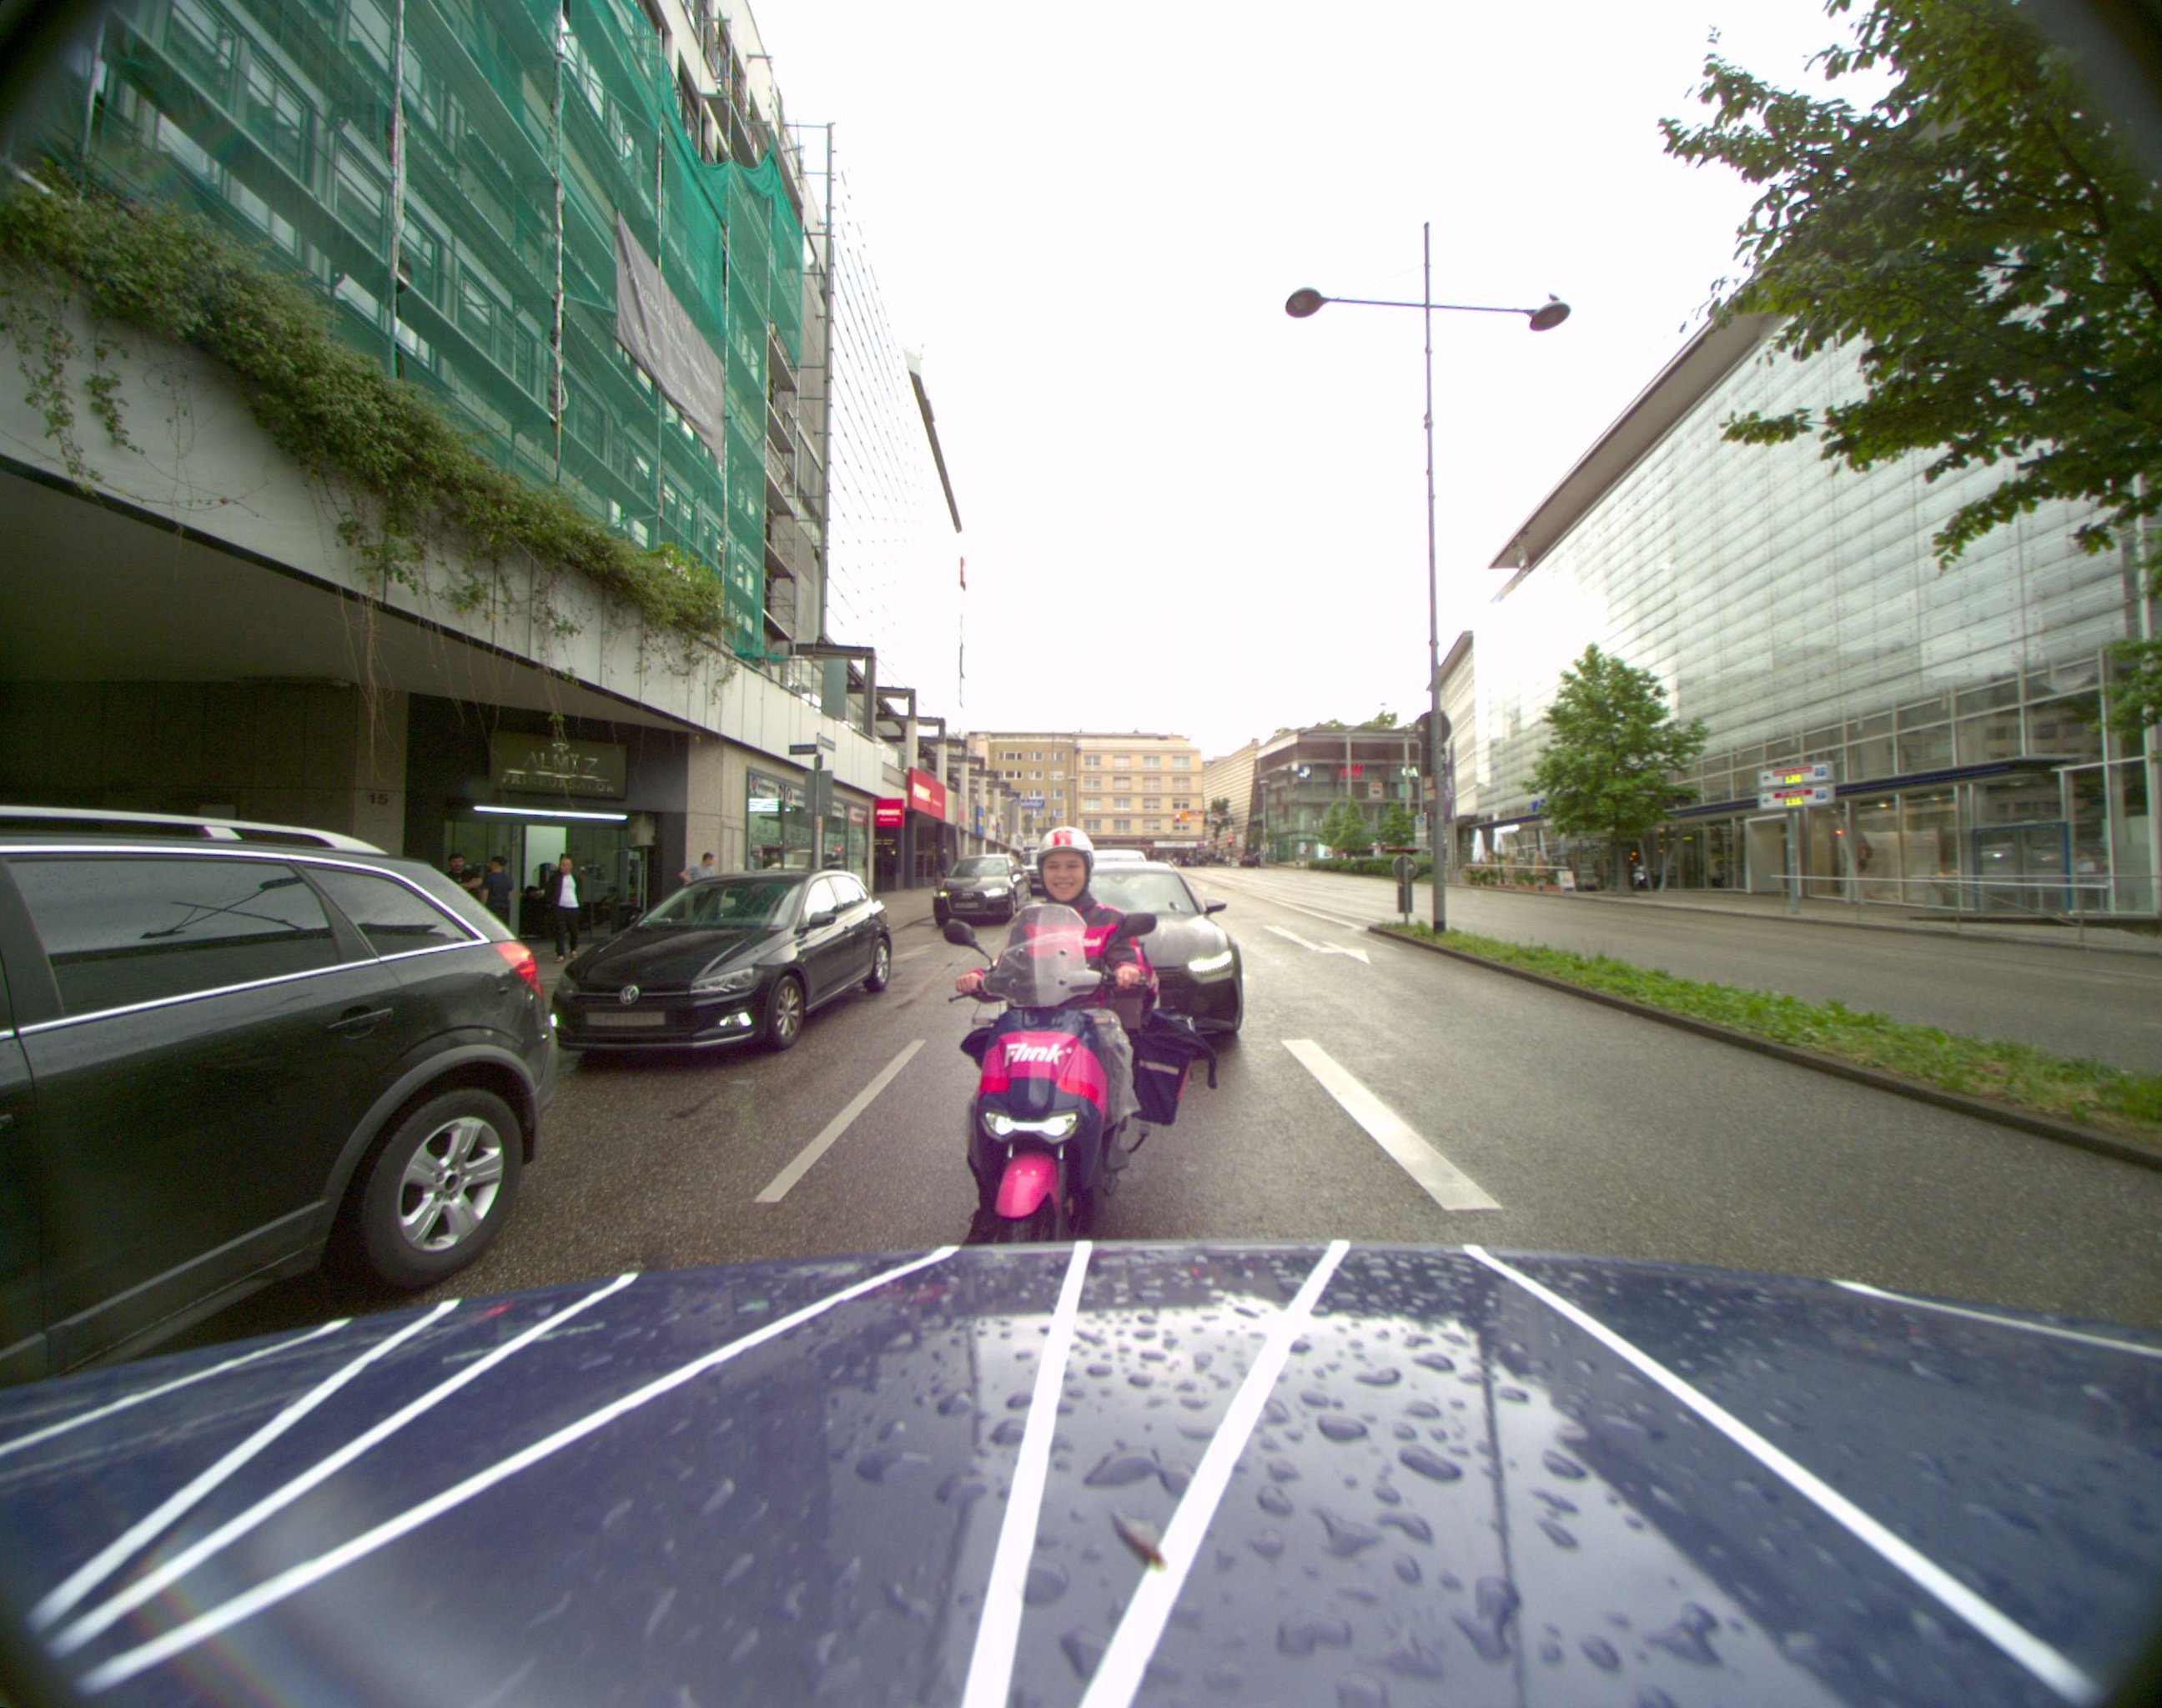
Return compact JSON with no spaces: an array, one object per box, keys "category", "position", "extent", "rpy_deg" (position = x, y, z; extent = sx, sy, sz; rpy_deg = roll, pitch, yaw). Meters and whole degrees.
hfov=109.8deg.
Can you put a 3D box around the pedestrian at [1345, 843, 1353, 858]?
[{"category":"pedestrian","position":[28.620,-0.362,81.076],"extent":[0.633,1.620,0.602],"rpy_deg":[0,1,2]}]

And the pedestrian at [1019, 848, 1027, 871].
[{"category":"pedestrian","position":[-3.845,0.353,50.437],"extent":[0.510,1.492,0.579],"rpy_deg":[0,2,0]}]

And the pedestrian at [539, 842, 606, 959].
[{"category":"pedestrian","position":[-8.191,0.716,12.250],"extent":[0.771,1.805,0.745],"rpy_deg":[2,2,44]}]

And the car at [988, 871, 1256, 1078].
[{"category":"car","position":[0.384,0.923,7.577],"extent":[1.890,1.391,4.165],"rpy_deg":[-2,-1,2]}]

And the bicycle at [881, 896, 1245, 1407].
[{"category":"bicycle","position":[-0.035,0.971,3.727],"extent":[1.034,1.279,2.948],"rpy_deg":[-2,1,1]}]

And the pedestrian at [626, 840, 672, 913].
[{"category":"pedestrian","position":[-9.779,0.506,17.211],"extent":[0.676,1.618,0.580],"rpy_deg":[0,2,7]}]

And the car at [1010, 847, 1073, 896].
[{"category":"car","position":[-1.441,0.651,29.339],"extent":[1.988,1.696,4.165],"rpy_deg":[-2,0,2]}]

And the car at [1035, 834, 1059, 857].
[{"category":"car","position":[-3.039,-0.760,69.174],"extent":[1.605,2.002,3.400],"rpy_deg":[-2,1,7]}]

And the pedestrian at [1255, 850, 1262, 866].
[{"category":"pedestrian","position":[20.040,0.484,85.823],"extent":[0.626,1.764,0.689],"rpy_deg":[-2,2,5]}]

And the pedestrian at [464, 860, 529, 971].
[{"category":"pedestrian","position":[-8.753,0.896,11.401],"extent":[0.640,1.586,0.576],"rpy_deg":[-3,2,-32]}]

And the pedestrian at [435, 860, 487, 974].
[{"category":"pedestrian","position":[-9.575,0.949,11.736],"extent":[0.466,1.698,0.484],"rpy_deg":[0,2,42]}]

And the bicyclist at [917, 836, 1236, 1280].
[{"category":"bicyclist","position":[-0.008,0.712,3.066],"extent":[1.063,1.534,0.825],"rpy_deg":[-2,2,0]}]

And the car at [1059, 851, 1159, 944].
[{"category":"car","position":[0.565,0.741,15.128],"extent":[1.675,1.520,4.164],"rpy_deg":[-2,1,2]}]

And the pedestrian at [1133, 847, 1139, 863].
[{"category":"pedestrian","position":[5.805,0.115,80.342],"extent":[0.634,1.620,0.602],"rpy_deg":[0,1,-1]}]

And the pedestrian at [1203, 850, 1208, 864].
[{"category":"pedestrian","position":[13.883,0.312,84.757],"extent":[0.428,1.620,0.602],"rpy_deg":[1,1,5]}]

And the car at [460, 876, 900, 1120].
[{"category":"car","position":[-3.177,1.028,7.144],"extent":[1.759,1.495,4.165],"rpy_deg":[-2,-1,2]}]

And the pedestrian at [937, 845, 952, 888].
[{"category":"pedestrian","position":[-5.401,0.489,30.050],"extent":[0.510,1.669,0.579],"rpy_deg":[0,2,0]}]

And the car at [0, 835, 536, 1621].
[{"category":"car","position":[-3.332,0.858,1.237],"extent":[1.764,1.755,4.164],"rpy_deg":[-2,0,1]}]

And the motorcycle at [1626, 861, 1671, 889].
[{"category":"motorcycle","position":[27.884,1.018,37.366],"extent":[1.707,1.319,0.620],"rpy_deg":[0,1,1]}]

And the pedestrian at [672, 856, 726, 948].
[{"category":"pedestrian","position":[-7.043,0.864,14.040],"extent":[0.639,1.633,0.733],"rpy_deg":[-2,2,-11]}]

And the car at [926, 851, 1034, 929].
[{"category":"car","position":[-2.303,0.771,18.393],"extent":[1.841,1.598,4.164],"rpy_deg":[-2,1,2]}]

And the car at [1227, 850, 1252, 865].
[{"category":"car","position":[22.898,0.469,109.704],"extent":[1.994,2.002,4.597],"rpy_deg":[1,1,33]}]

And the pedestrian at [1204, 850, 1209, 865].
[{"category":"pedestrian","position":[14.385,0.392,87.068],"extent":[0.428,1.620,0.602],"rpy_deg":[1,1,3]}]

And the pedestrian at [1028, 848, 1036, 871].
[{"category":"pedestrian","position":[-3.261,0.352,50.642],"extent":[0.510,1.492,0.579],"rpy_deg":[0,2,0]}]

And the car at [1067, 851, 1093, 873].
[{"category":"car","position":[-0.066,0.661,64.073],"extent":[1.988,1.696,4.165],"rpy_deg":[-2,0,2]}]
